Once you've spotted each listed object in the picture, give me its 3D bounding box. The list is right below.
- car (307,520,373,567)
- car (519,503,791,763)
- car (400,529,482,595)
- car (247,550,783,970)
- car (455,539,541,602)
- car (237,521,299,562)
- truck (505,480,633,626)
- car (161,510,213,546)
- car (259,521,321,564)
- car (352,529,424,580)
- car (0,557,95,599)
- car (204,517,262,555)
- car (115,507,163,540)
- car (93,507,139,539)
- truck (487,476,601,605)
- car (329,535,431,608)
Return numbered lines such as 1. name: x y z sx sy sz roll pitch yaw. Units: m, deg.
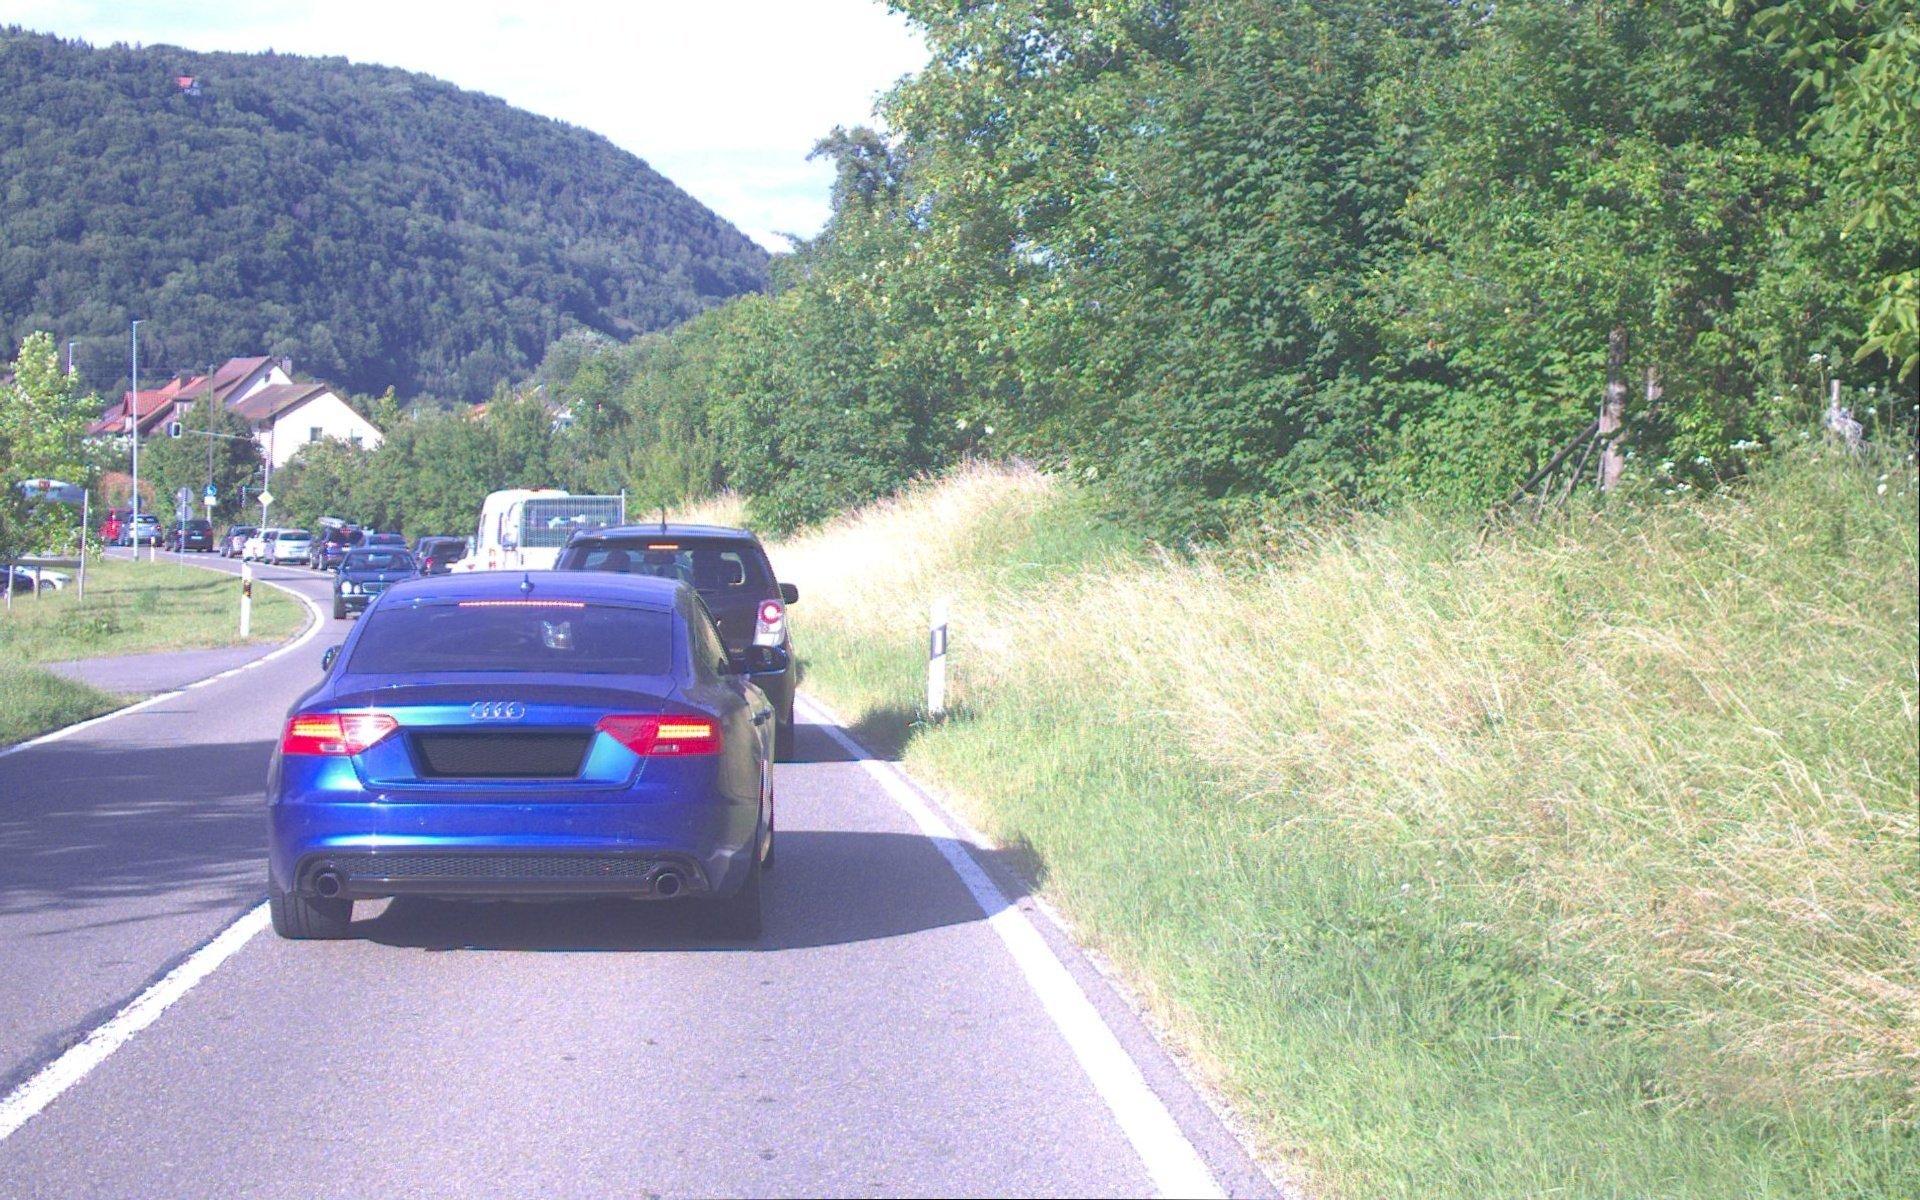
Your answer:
1. car: -23.415 -2.131 129.748 1.845 1.706 4.001 1 1 -19
2. car: -2.141 0.198 24.427 1.754 1.675 3.847 1 1 -4
3. car: -13.926 -1.026 92.140 1.845 1.706 4.001 1 1 -13
4. car: -1.632 0.534 13.773 1.754 1.425 3.847 1 1 -2
5. car: -11.264 -0.725 83.675 1.845 1.477 4.001 1 1 -11
6. car: -29.655 -2.493 147.263 1.845 1.706 4.001 1 1 -23
7. truck: -7.242 -0.860 64.123 2.229 2.561 6.105 1 1 -6
8. car: -38.436 -3.564 170.919 1.845 1.706 4.001 1 1 -23
9. car: -27.283 -2.331 139.884 1.845 1.706 4.001 1 1 -20
10. car: -19.913 -1.585 119.533 1.845 1.706 4.001 1 1 -19
11. car: -35.726 -0.860 133.452 3.986 1.573 1.753 1 0 -7
12. car: -33.458 -2.954 158.191 1.845 1.706 4.001 1 1 -23
13. car: -43.896 -4.083 183.748 1.845 1.706 4.001 1 1 -23
14. car: -47.069 -4.266 191.610 1.845 1.706 4.001 1 1 -23
15. truck: -8.705 -1.224 71.997 2.229 2.561 6.709 1 1 -7
16. car: -11.190 -0.552 66.515 1.594 1.349 4.204 1 1 -5
